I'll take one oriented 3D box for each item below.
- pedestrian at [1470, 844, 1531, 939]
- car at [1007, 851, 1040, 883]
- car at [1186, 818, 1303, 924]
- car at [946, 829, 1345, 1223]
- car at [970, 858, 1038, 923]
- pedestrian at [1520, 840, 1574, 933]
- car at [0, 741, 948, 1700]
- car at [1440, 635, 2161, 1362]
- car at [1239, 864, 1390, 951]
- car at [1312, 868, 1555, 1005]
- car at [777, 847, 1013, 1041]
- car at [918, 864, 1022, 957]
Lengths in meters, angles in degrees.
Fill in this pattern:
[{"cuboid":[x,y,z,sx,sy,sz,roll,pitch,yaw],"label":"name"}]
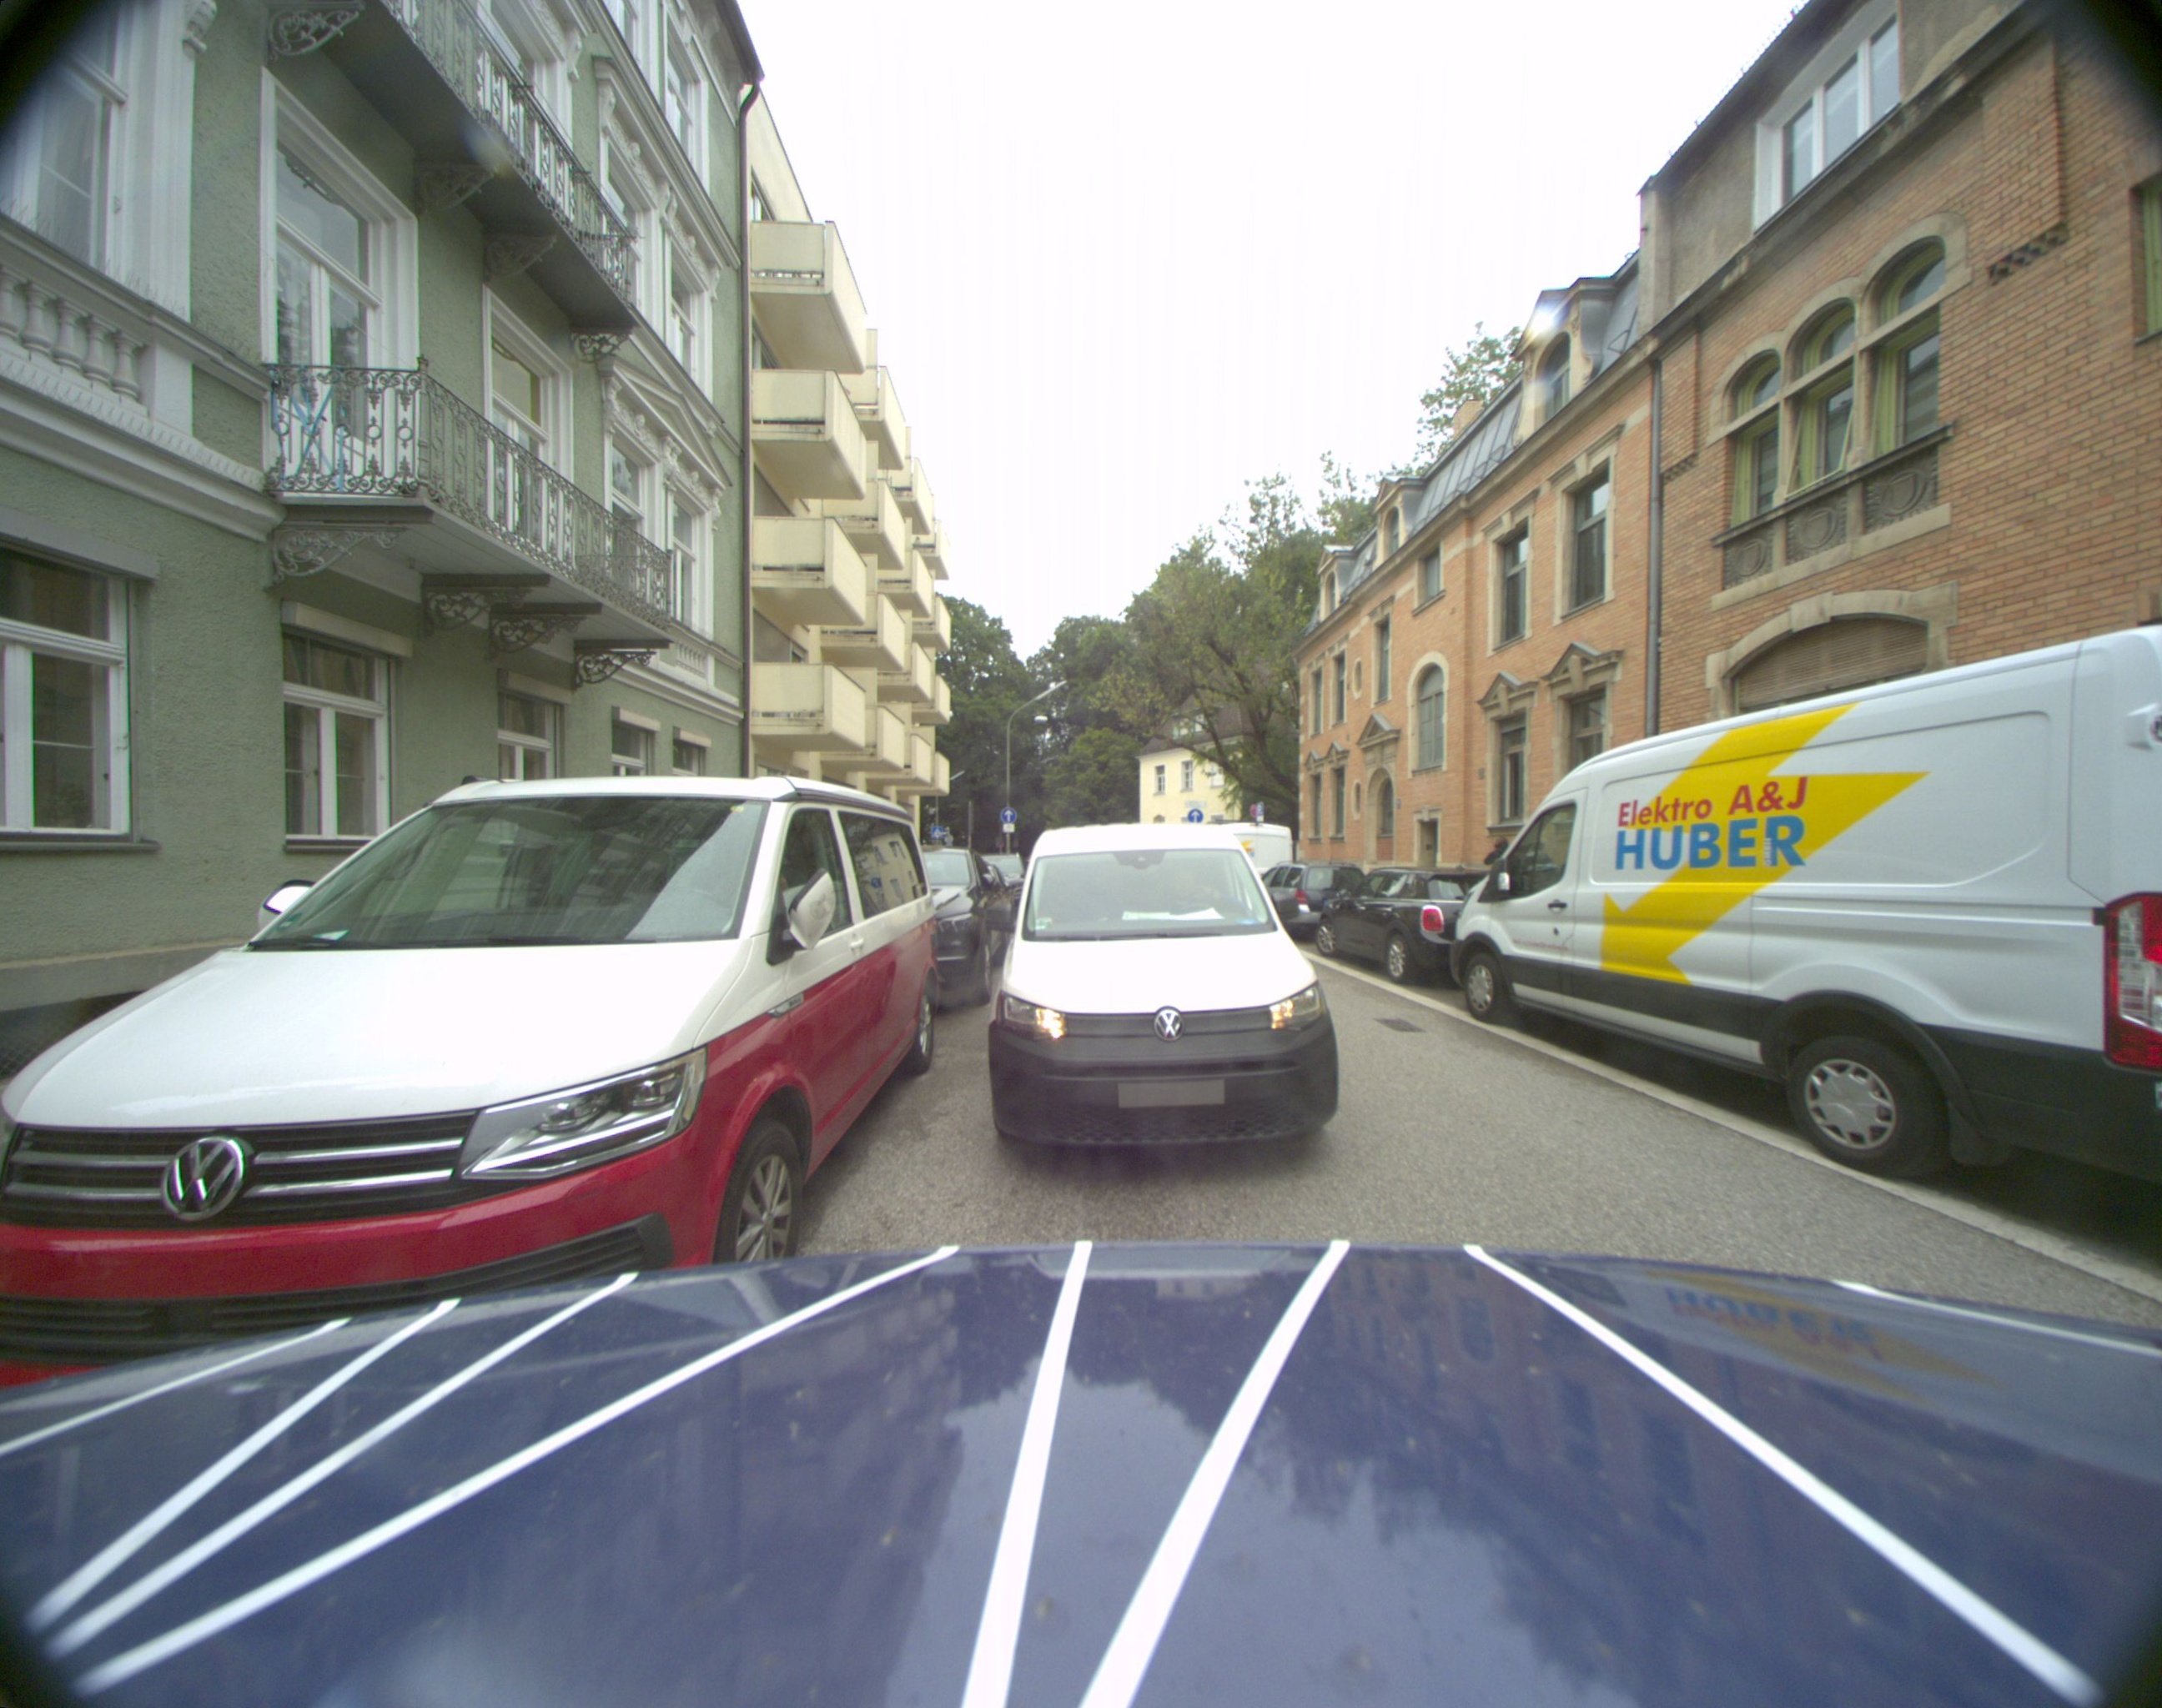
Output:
[{"cuboid":[7.408,0.644,13.436,0.634,1.623,0.675,2,1,-1],"label":"pedestrian"},{"cuboid":[-3.279,0.688,43.874,1.766,1.740,3.999,1,0,-2],"label":"car"},{"cuboid":[4.372,0.439,21.102,2.119,2.525,4.420,3,0,-1],"label":"car"},{"cuboid":[0.274,0.765,5.390,1.776,1.761,3.999,0,0,0],"label":"car"},{"cuboid":[-2.045,0.917,21.074,1.551,1.562,3.977,-2,0,-2],"label":"car"},{"cuboid":[8.393,0.574,13.703,0.634,1.623,0.467,2,1,-1],"label":"pedestrian"},{"cuboid":[-2.027,0.751,3.817,1.858,1.885,4.591,-2,0,0],"label":"car"},{"cuboid":[4.643,0.490,4.997,1.986,2.463,5.222,1,0,-1],"label":"car"},{"cuboid":[4.529,0.974,15.381,1.694,1.434,3.983,2,0,-2],"label":"car"},{"cuboid":[4.493,0.961,10.287,1.527,1.434,3.540,2,0,-2],"label":"car"},{"cuboid":[-1.938,0.855,9.383,1.832,1.747,4.553,-2,0,-2],"label":"car"},{"cuboid":[-2.076,1.005,15.164,1.551,1.488,3.977,-2,0,-2],"label":"car"}]
